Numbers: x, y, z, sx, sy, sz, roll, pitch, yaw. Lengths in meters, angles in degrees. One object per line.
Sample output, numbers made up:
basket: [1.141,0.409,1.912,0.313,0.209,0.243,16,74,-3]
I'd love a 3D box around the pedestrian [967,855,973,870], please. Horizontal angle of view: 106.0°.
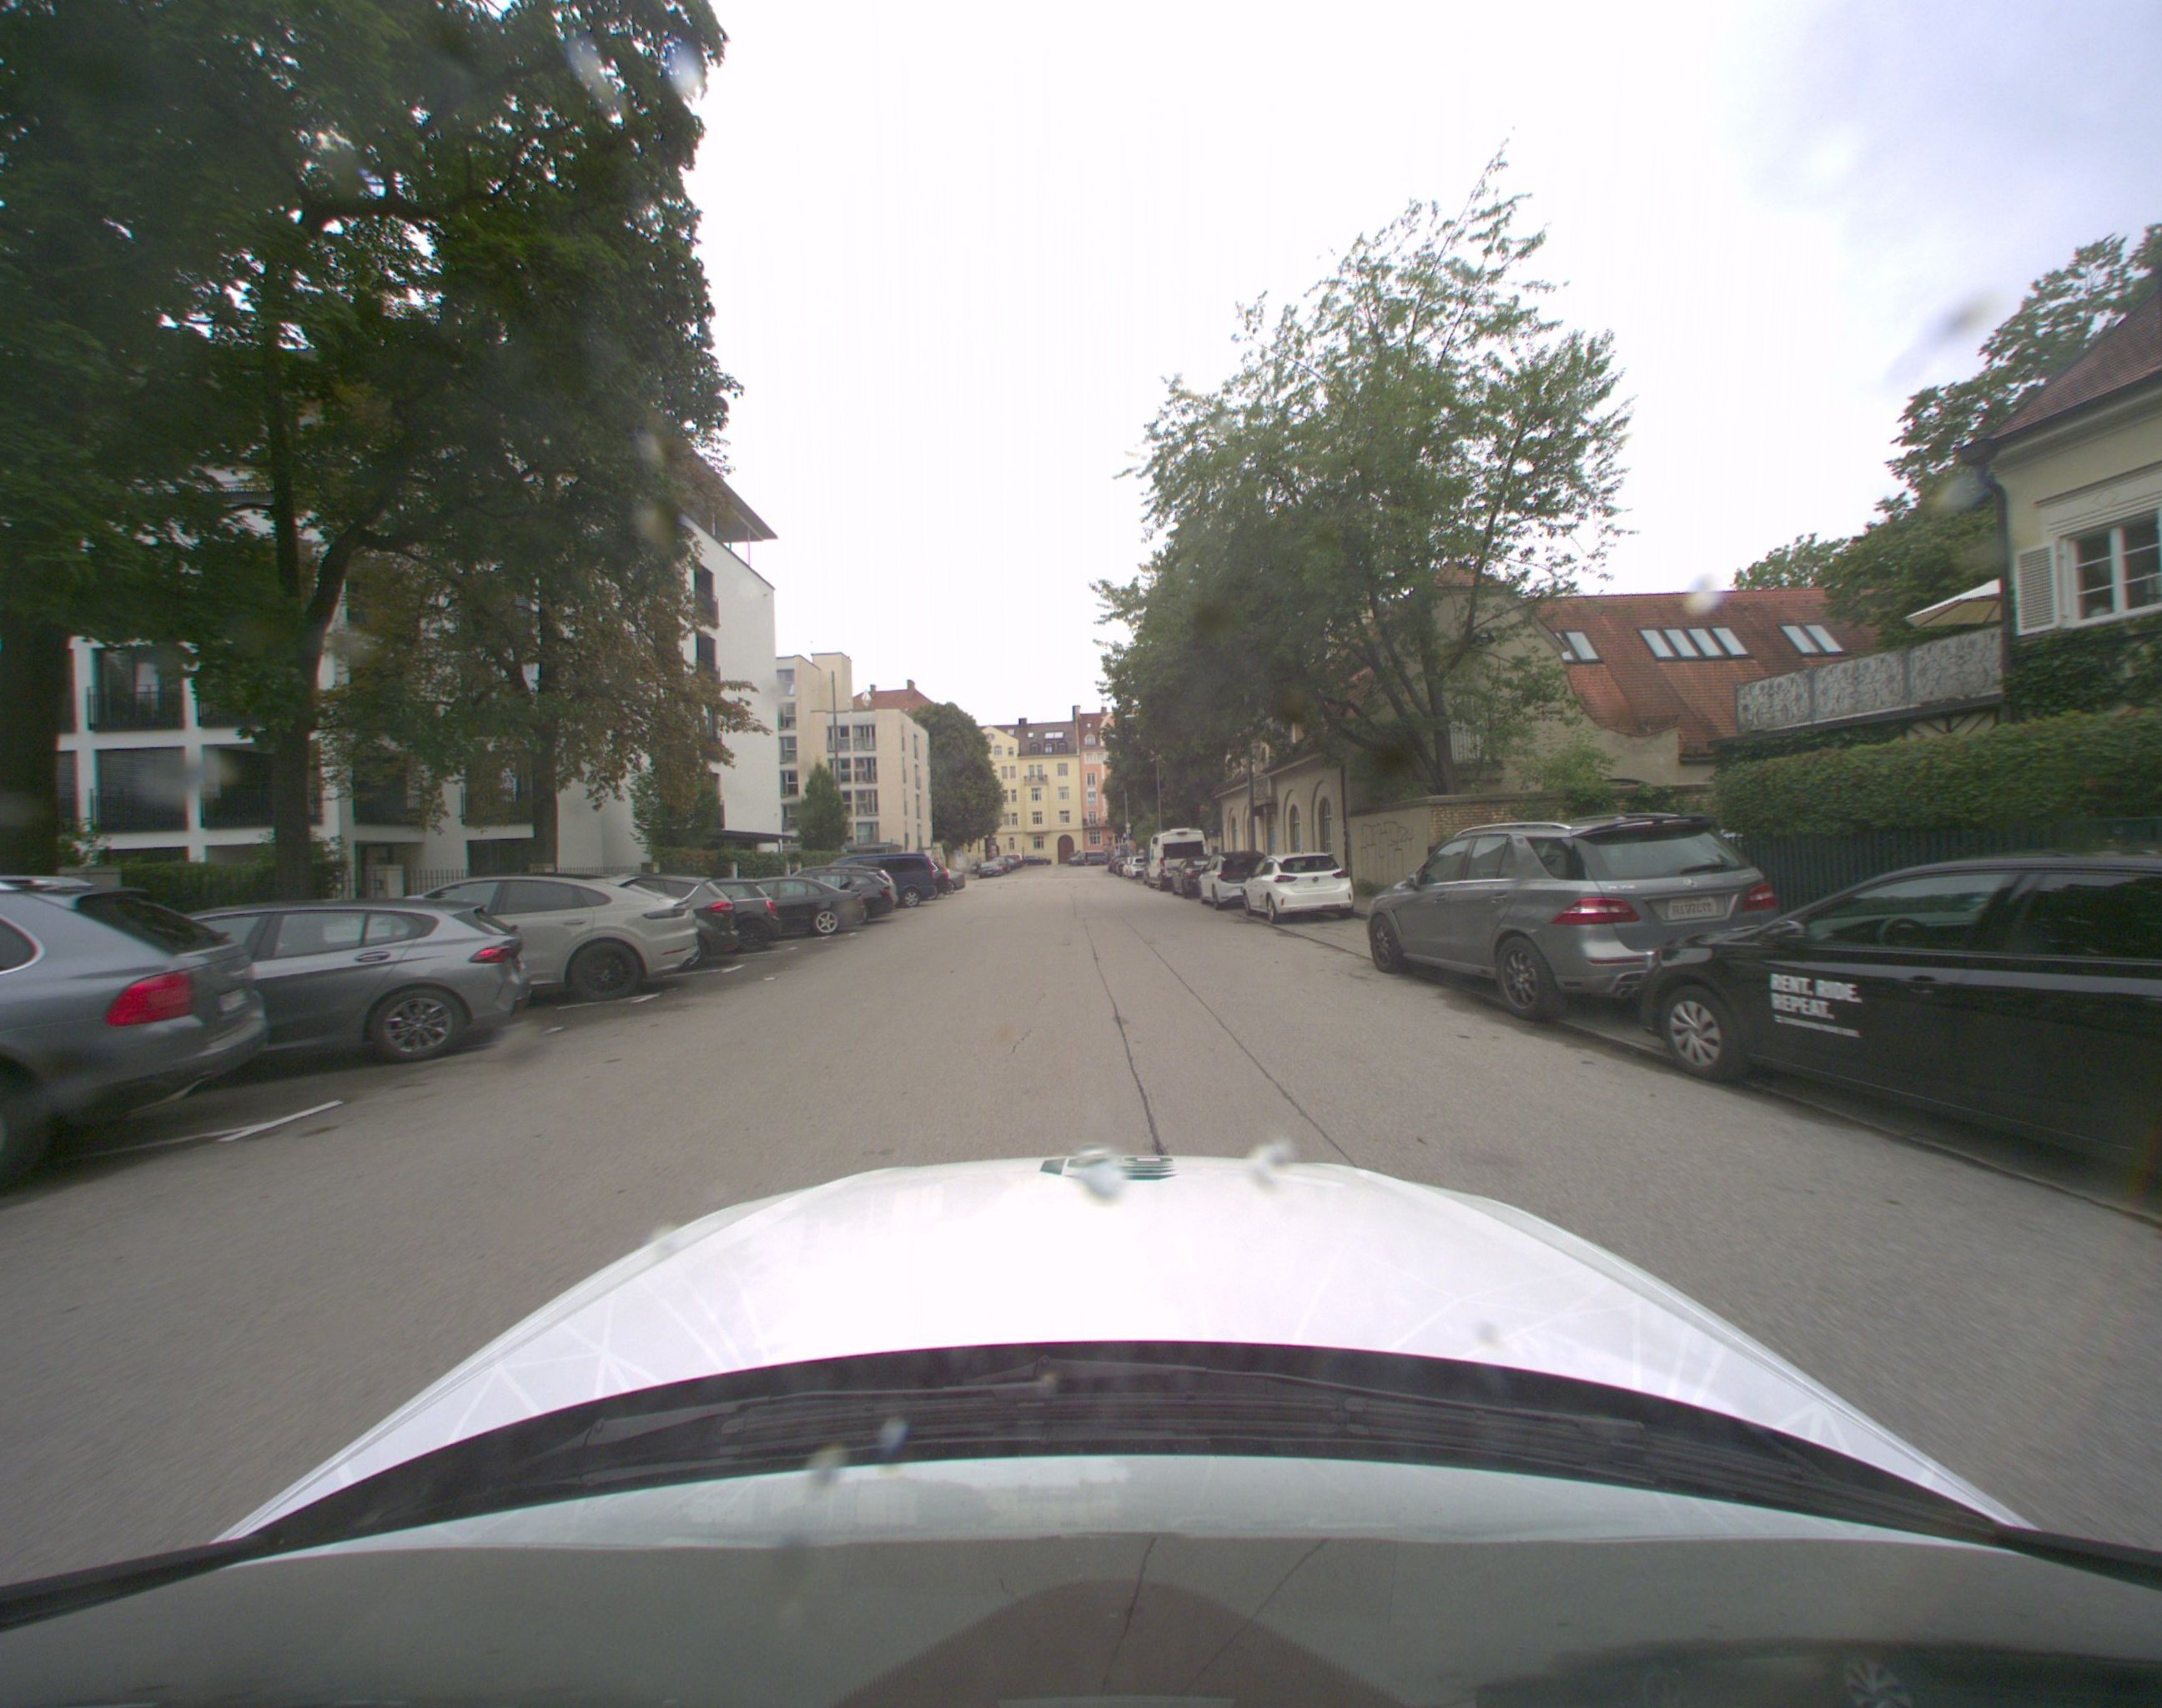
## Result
pedestrian: [-12.602,0.943,92.116,0.569,1.657,0.464,-2,0,-1]

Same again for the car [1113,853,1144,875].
car: [3.682,0.733,63.761,1.800,1.465,3.832,-4,2,-4]

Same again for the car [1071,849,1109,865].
car: [1.170,0.373,104.245,4.692,1.880,1.838,-2,0,-3]

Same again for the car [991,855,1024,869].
car: [-9.517,1.056,105.942,3.976,1.508,1.839,-5,0,-2]

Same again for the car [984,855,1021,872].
car: [-9.050,1.093,93.992,3.976,1.508,1.839,-5,0,-2]

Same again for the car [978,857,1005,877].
car: [-7.858,1.132,71.878,1.829,1.508,3.999,-5,0,0]

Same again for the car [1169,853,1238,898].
car: [4.317,0.715,29.321,1.702,1.369,4.439,-4,0,-1]

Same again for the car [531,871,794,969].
car: [-7.867,1.168,15.685,4.225,1.461,1.778,-3,0,-25]

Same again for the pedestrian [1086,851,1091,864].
pedestrian: [0.898,0.419,100.242,0.462,1.657,0.572,-2,0,-6]

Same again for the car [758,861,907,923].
car: [-7.955,1.170,26.158,4.231,1.609,1.720,-4,0,-30]

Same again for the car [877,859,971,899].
car: [-7.751,1.223,40.315,4.135,1.609,1.719,-4,0,-33]

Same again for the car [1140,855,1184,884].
car: [4.175,0.768,42.587,1.703,1.369,4.127,-4,0,-2]

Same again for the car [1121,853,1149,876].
car: [3.922,0.741,59.474,1.702,1.466,3.837,-4,0,0]

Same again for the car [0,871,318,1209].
car: [-7.336,1.073,4.325,4.430,1.699,2.114,-3,0,-33]

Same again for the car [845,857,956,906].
car: [-7.544,1.122,34.102,4.134,1.708,1.720,-4,0,-31]

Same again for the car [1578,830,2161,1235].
car: [4.883,0.652,4.169,1.873,1.427,4.217,-4,0,-3]

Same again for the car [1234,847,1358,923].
car: [4.702,0.636,18.398,1.680,1.441,3.999,-3,0,0]

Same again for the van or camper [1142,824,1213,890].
van or camper: [4.170,0.137,36.184,2.186,2.550,5.725,-4,0,-1]

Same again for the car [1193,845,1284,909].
car: [4.428,0.602,23.531,1.702,1.537,4.239,-4,0,0]

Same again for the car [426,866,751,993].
car: [-7.742,1.107,13.315,4.225,1.599,1.871,-3,0,-25]

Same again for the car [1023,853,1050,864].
car: [-6.954,0.701,126.551,3.974,1.586,1.703,-2,0,0]

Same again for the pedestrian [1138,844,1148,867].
pedestrian: [5.472,0.155,71.491,0.771,2.013,0.562,-2,0,-1]

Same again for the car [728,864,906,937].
car: [-6.895,1.156,21.368,4.222,1.461,1.724,-4,0,-22]

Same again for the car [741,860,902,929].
car: [-7.613,1.133,23.929,4.227,1.609,1.722,-4,0,-27]

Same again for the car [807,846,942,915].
car: [-7.308,0.886,28.964,4.231,2.066,1.720,-4,0,-30]

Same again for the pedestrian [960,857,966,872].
pedestrian: [-13.324,1.200,92.027,0.569,1.657,0.464,-2,0,-1]

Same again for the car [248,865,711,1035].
car: [-7.351,1.079,10.644,4.416,1.621,2.071,-3,0,-22]

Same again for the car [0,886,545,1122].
car: [-7.481,1.171,7.253,4.429,1.491,1.997,-3,0,-33]

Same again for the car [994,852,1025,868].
car: [-9.695,0.817,110.728,3.976,1.799,1.839,-5,0,-2]

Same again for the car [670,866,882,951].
car: [-6.915,1.169,18.588,4.233,1.461,1.720,-4,0,-32]

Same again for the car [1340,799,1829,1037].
car: [4.735,0.490,8.808,1.989,1.711,4.879,-4,0,-3]

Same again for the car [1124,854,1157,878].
car: [3.940,0.790,54.533,1.703,1.408,4.127,-4,0,-2]

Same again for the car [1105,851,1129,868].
car: [3.238,0.480,74.106,1.667,1.344,3.833,-4,2,-4]

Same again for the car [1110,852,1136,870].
car: [3.544,0.564,69.193,1.667,1.344,3.833,-4,2,-4]
